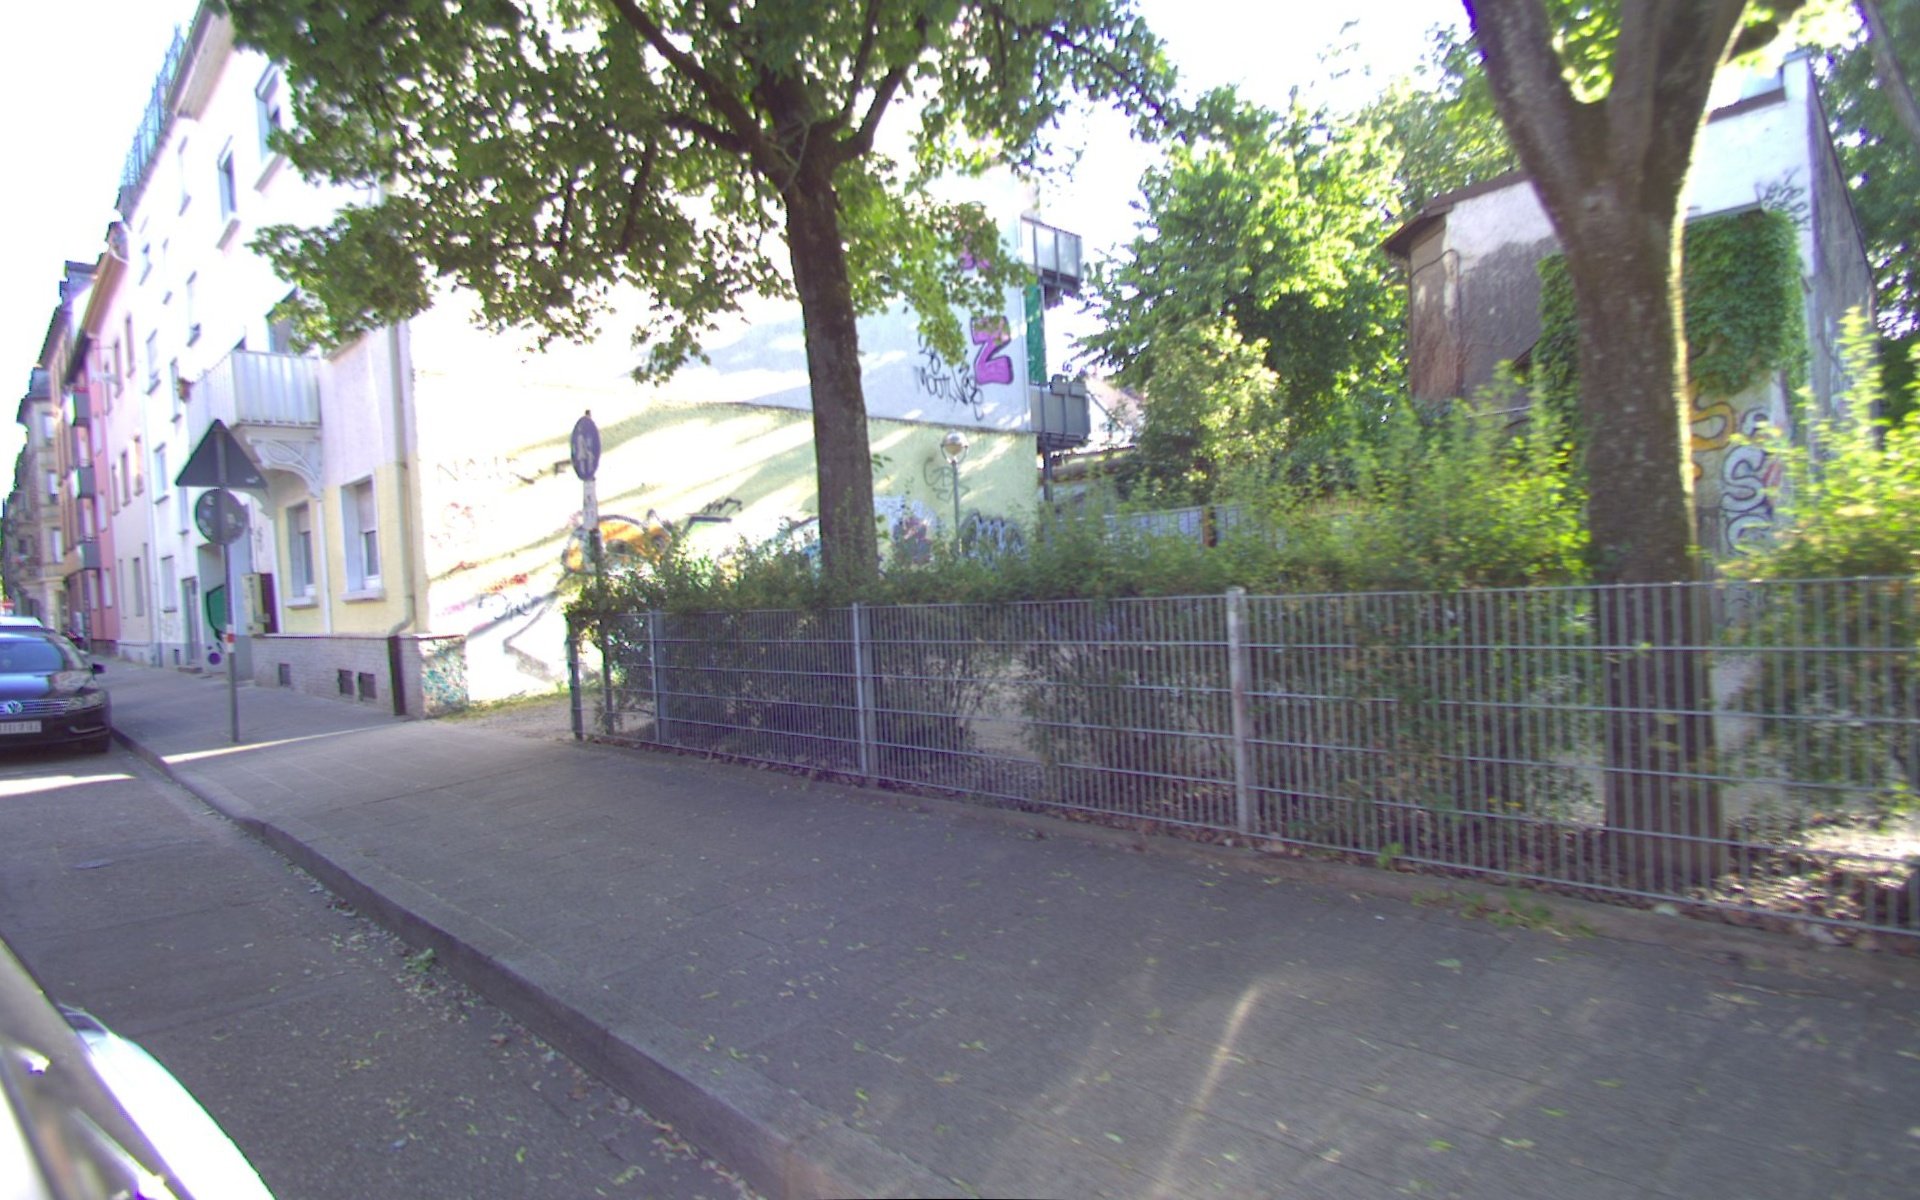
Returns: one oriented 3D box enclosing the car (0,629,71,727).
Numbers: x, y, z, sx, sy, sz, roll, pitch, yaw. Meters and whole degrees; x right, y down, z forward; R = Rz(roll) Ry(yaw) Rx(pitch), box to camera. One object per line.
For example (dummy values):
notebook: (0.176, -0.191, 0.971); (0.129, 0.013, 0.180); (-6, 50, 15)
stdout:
car: (-15.535, 1.211, 16.400); (1.574, 1.462, 3.489); (1, -2, -43)

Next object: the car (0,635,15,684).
car: (-30.869, 1.859, 31.664); (3.818, 1.483, 1.744); (-2, -2, 45)

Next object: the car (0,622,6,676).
car: (-34.676, 1.710, 35.436); (4.105, 1.838, 1.744); (-2, -2, 45)

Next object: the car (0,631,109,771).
car: (-11.596, 1.111, 12.122); (4.394, 1.454, 1.759); (-2, -2, 45)

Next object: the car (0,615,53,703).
car: (-20.900, 1.233, 21.774); (4.316, 1.754, 1.730); (-2, -2, 44)

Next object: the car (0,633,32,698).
car: (-24.416, 1.597, 25.231); (1.650, 1.539, 4.092); (1, -2, -40)

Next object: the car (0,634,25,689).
car: (-27.504, 1.709, 28.395); (4.086, 1.470, 1.652); (-2, -2, 44)
